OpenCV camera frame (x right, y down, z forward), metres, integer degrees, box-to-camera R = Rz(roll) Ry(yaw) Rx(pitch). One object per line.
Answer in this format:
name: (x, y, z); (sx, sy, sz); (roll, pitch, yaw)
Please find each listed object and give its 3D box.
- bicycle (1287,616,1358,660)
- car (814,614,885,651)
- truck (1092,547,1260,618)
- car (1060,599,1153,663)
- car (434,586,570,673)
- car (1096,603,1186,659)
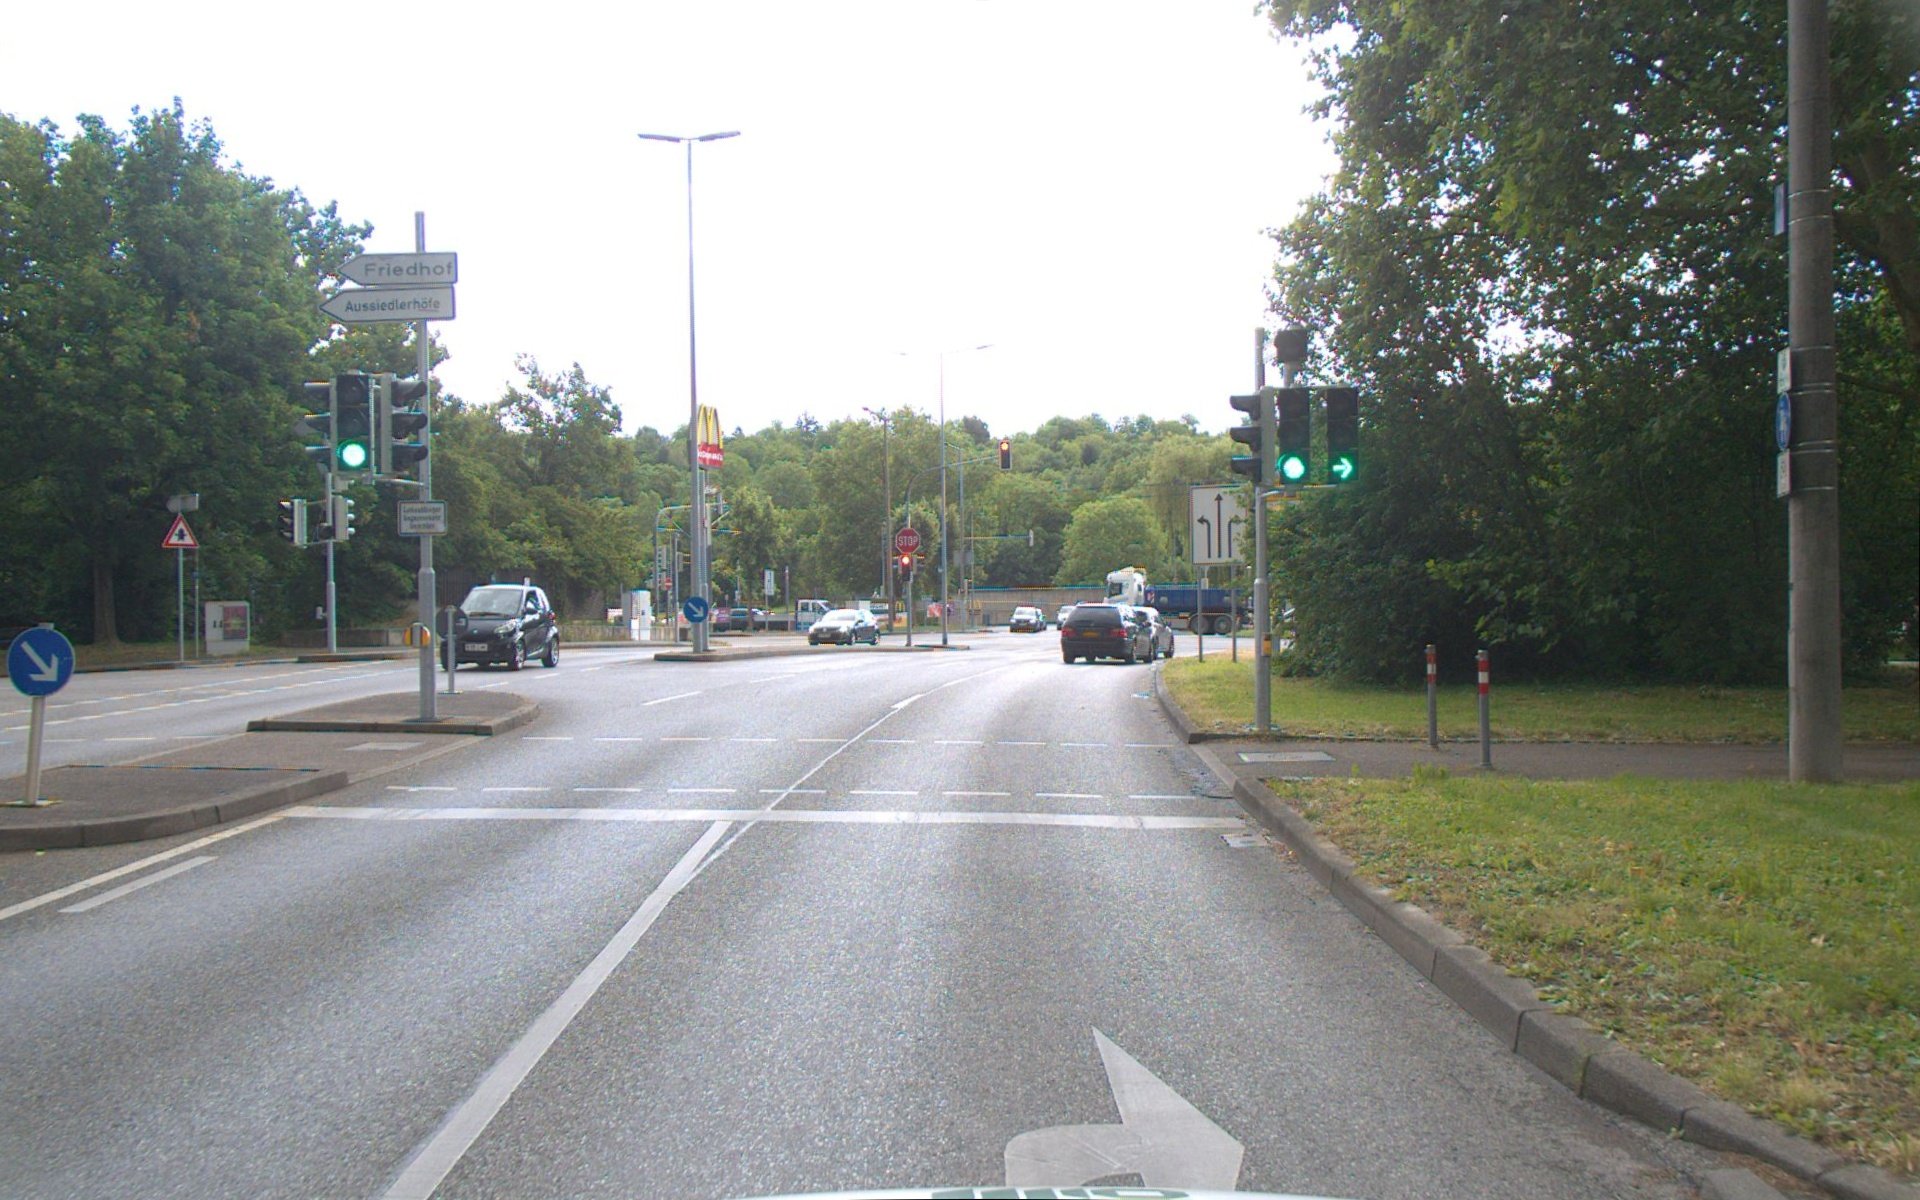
bicycle: (9.331, 0.976, 42.560); (1.741, 1.130, 0.455); (-1, -2, 17)
car: (-4.214, 1.228, 63.625); (1.641, 1.390, 4.314); (0, 0, 12)
truck: (12.362, -0.954, 94.880); (8.916, 3.651, 3.218); (-2, -2, 24)
car: (3.773, 0.769, 41.878); (1.783, 1.536, 4.578); (0, -1, 12)
car: (-8.656, 0.527, 31.509); (1.535, 1.553, 3.190); (-1, 1, 3)
car: (5.379, 0.881, 48.834); (1.691, 1.557, 4.149); (-1, -1, 20)
